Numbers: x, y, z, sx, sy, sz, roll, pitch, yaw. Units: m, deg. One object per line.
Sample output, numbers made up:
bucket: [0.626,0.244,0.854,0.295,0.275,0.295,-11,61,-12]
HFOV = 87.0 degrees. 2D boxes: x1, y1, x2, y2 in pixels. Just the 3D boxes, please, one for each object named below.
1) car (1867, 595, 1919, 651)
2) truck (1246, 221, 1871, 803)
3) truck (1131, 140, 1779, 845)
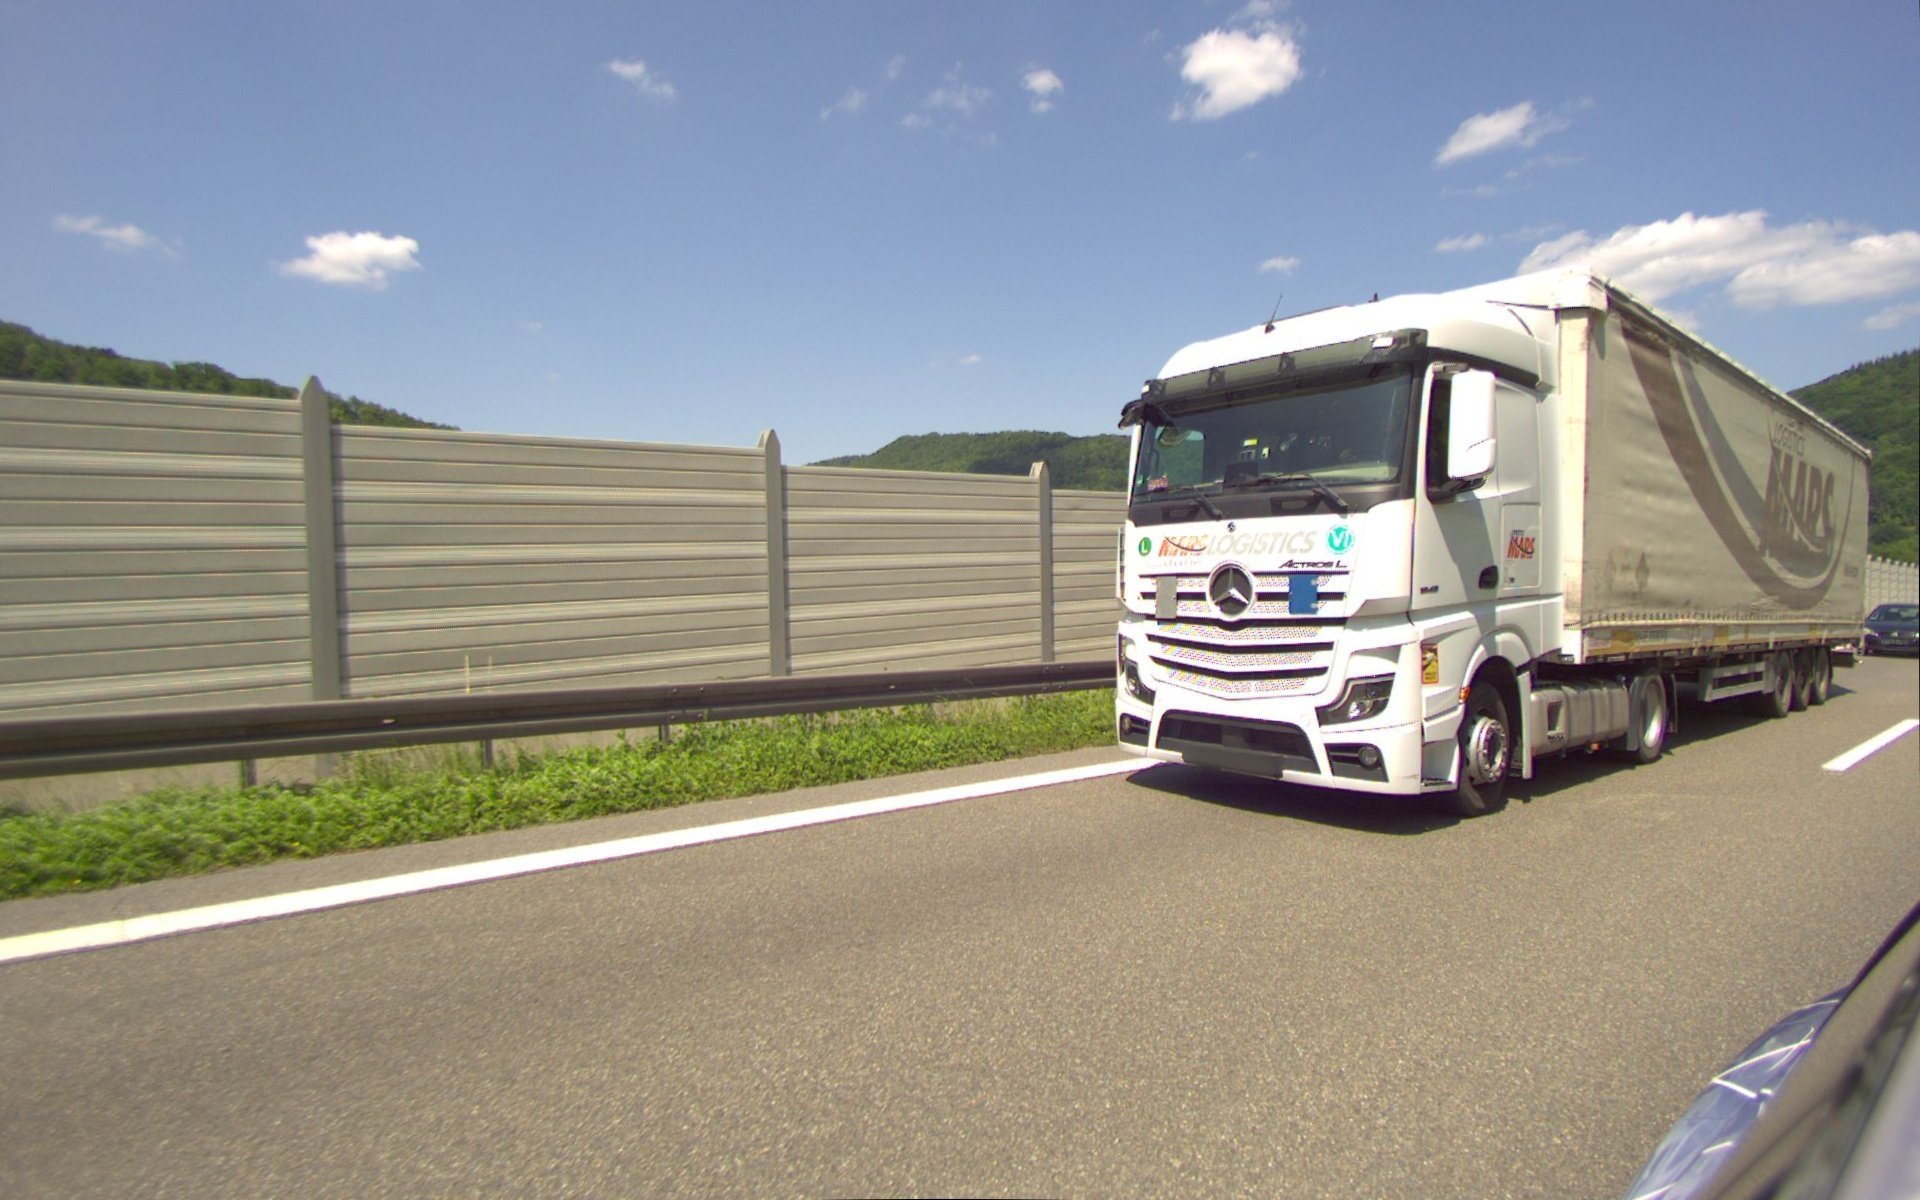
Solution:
car: [26.579,0.618,28.059,3.414,1.431,1.661,0,2,-41]
truck: [8.100,-0.699,12.263,11.835,4.199,2.860,0,1,-41]
truck: [4.801,-0.660,9.108,6.703,4.089,2.763,0,1,-40]
